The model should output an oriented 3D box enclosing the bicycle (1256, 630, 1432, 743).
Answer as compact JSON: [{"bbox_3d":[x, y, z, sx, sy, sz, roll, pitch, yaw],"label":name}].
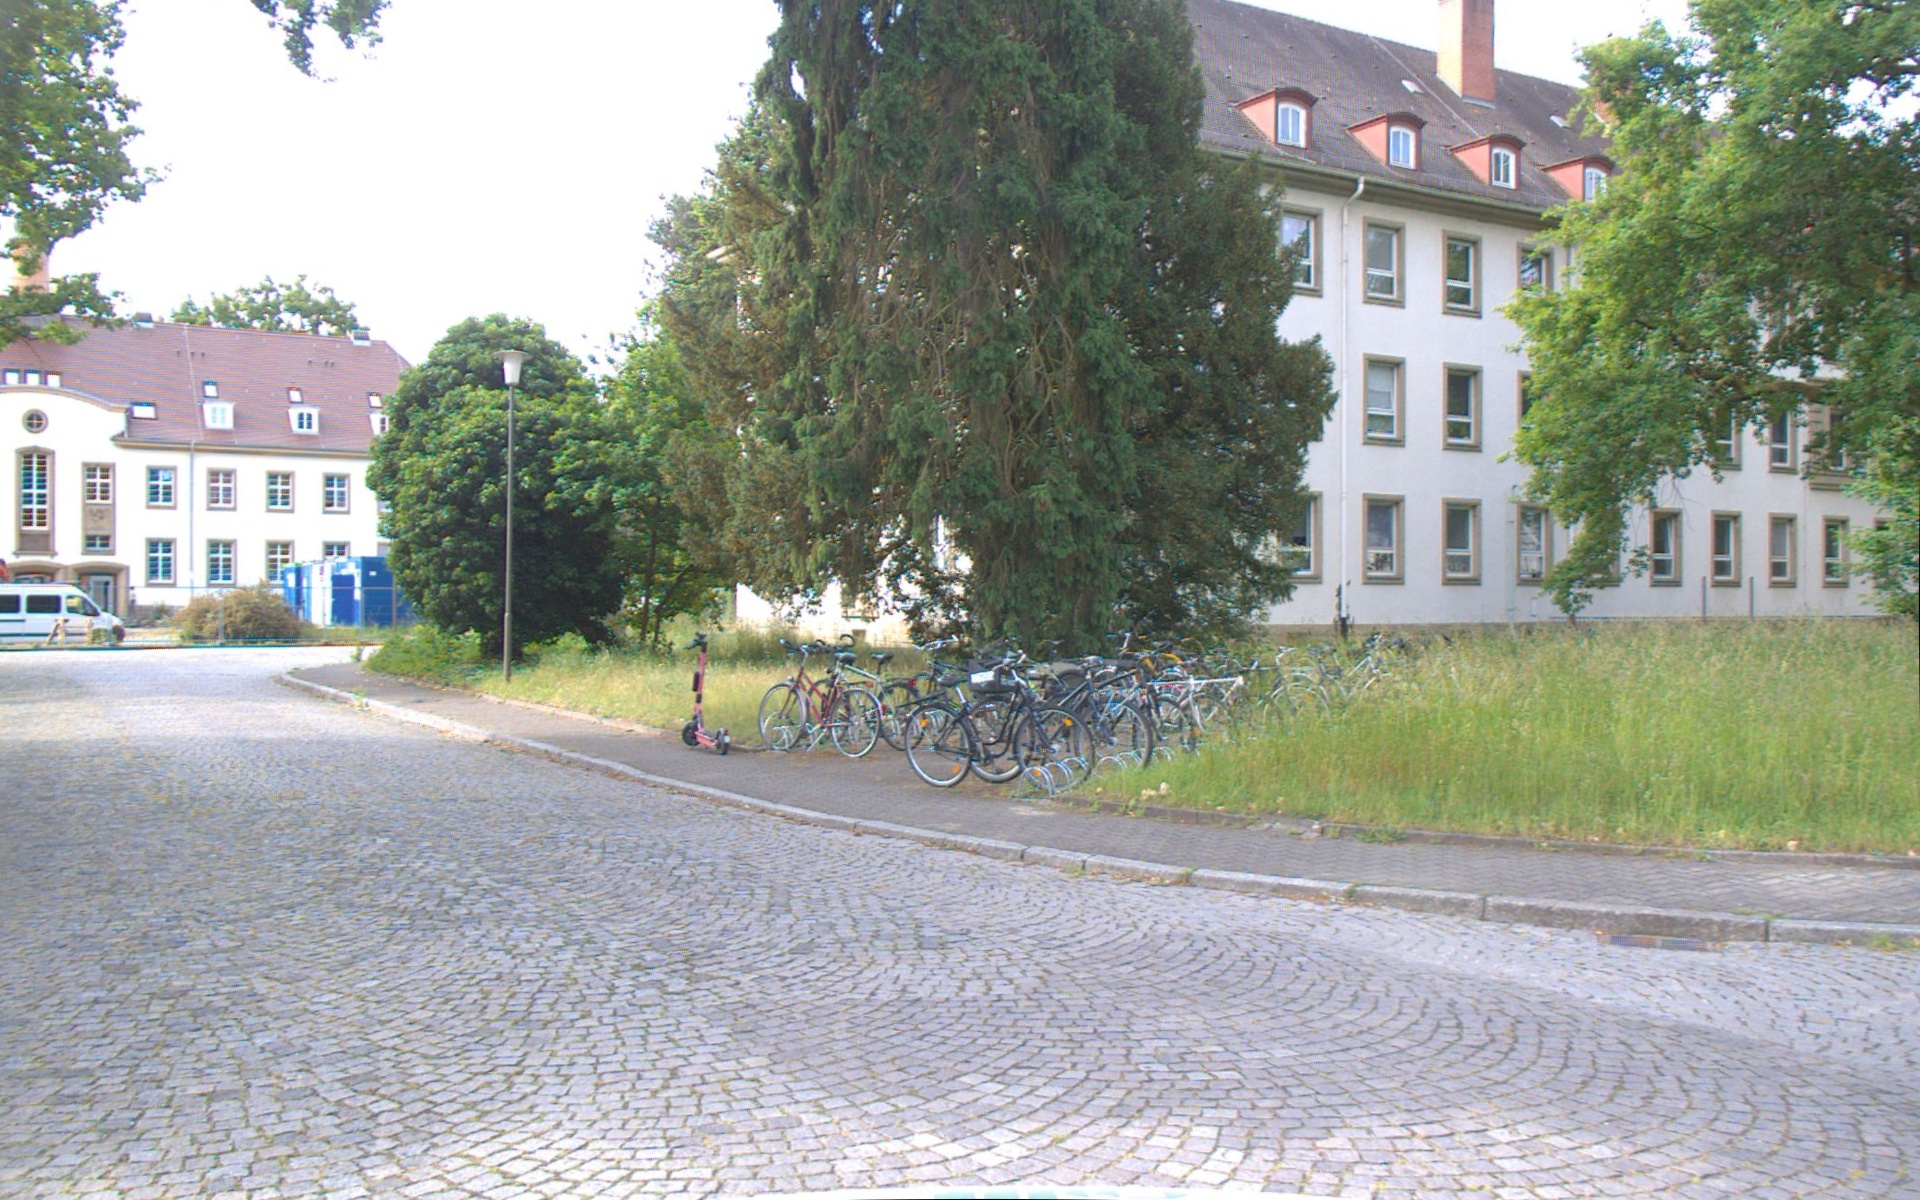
[{"bbox_3d":[4.081,0.909,17.659,1.744,1.124,0.539,-2,1,41],"label":"bicycle"}]

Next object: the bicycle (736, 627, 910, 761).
[{"bbox_3d":[-1.417,0.928,16.929,1.866,1.244,0.640,0,2,41],"label":"bicycle"}]

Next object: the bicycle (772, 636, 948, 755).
[{"bbox_3d":[-1.076,0.980,17.527,1.955,1.133,0.640,0,2,41],"label":"bicycle"}]

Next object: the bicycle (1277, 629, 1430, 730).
[{"bbox_3d":[4.452,0.892,18.774,1.591,1.077,0.524,-2,1,41],"label":"bicycle"}]

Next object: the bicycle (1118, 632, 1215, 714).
[{"bbox_3d":[2.696,0.957,21.645,1.240,1.047,0.431,-2,-4,41],"label":"bicycle"}]

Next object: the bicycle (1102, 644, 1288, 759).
[{"bbox_3d":[2.243,0.954,15.894,1.665,1.019,0.629,-2,1,41],"label":"bicycle"}]

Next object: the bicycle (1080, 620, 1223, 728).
[{"bbox_3d":[2.278,0.865,19.753,1.610,1.206,0.572,0,2,34],"label":"bicycle"}]

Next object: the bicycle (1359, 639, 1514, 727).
[{"bbox_3d":[5.364,0.925,18.669,1.591,0.927,0.524,-2,1,41],"label":"bicycle"}]

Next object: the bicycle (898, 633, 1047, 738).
[{"bbox_3d":[0.133,0.940,18.512,1.594,1.092,0.539,0,2,30],"label":"bicycle"}]

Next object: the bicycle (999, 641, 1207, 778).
[{"bbox_3d":[1.262,0.952,14.812,1.741,1.122,0.699,-2,1,41],"label":"bicycle"}]

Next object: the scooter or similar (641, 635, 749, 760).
[{"bbox_3d":[-2.805,0.995,17.410,0.672,1.216,1.539,-1,0,-27],"label":"scooter or similar"}]

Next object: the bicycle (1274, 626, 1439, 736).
[{"bbox_3d":[4.331,0.875,18.154,1.671,1.136,0.539,-2,1,41],"label":"bicycle"}]

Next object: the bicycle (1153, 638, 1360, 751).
[{"bbox_3d":[2.915,0.917,16.393,1.924,1.022,0.683,-2,1,41],"label":"bicycle"}]

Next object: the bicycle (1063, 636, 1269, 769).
[{"bbox_3d":[1.883,0.918,15.246,1.766,1.122,0.699,-2,1,41],"label":"bicycle"}]

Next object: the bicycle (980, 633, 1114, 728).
[{"bbox_3d":[1.029,0.944,19.666,1.483,1.053,0.544,0,2,30],"label":"bicycle"}]

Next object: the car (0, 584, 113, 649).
[{"bbox_3d":[-33.925,0.596,60.138,5.458,2.245,2.105,1,2,-31],"label":"car"}]
